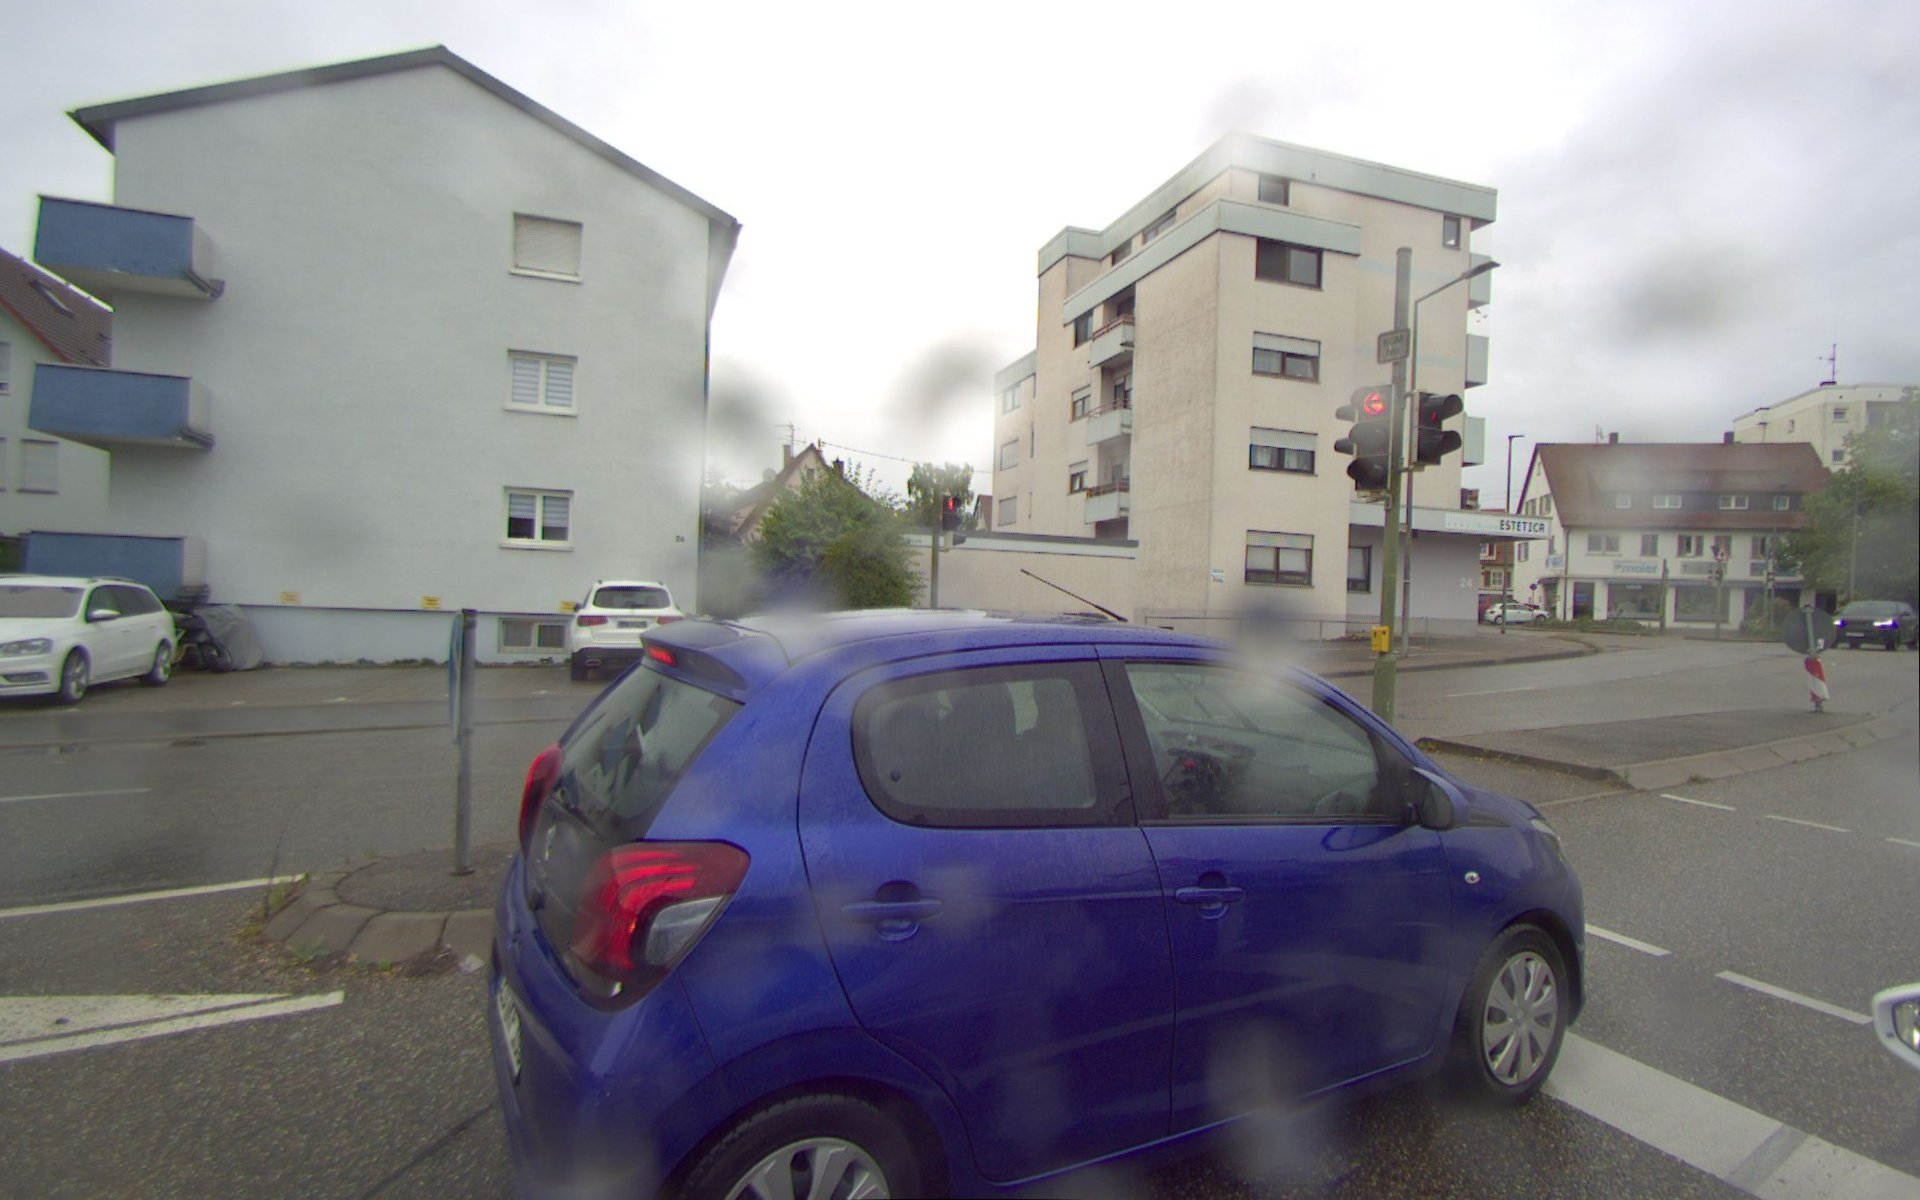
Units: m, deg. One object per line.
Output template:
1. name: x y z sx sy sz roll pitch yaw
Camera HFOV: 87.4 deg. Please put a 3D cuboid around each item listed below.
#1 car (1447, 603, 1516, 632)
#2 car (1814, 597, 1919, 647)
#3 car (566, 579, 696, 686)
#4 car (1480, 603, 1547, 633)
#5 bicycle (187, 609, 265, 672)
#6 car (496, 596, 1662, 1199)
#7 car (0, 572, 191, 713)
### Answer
1. car: 37.211 1.240 71.711 3.987 1.868 1.889 2 0 14
2. car: 34.416 0.863 38.074 5.132 1.760 1.979 2 0 -37
3. car: -5.762 0.508 17.557 1.884 1.637 3.982 2 0 -19
4. car: 37.918 1.235 68.881 3.611 1.946 1.889 2 0 14
5. bicycle: -12.693 0.687 17.402 1.053 1.067 0.345 0 1 -30
6. car: 0.471 0.737 3.083 3.324 1.432 1.498 1 1 -30
7. car: -11.479 0.454 12.487 1.854 1.480 4.732 1 -1 -23
